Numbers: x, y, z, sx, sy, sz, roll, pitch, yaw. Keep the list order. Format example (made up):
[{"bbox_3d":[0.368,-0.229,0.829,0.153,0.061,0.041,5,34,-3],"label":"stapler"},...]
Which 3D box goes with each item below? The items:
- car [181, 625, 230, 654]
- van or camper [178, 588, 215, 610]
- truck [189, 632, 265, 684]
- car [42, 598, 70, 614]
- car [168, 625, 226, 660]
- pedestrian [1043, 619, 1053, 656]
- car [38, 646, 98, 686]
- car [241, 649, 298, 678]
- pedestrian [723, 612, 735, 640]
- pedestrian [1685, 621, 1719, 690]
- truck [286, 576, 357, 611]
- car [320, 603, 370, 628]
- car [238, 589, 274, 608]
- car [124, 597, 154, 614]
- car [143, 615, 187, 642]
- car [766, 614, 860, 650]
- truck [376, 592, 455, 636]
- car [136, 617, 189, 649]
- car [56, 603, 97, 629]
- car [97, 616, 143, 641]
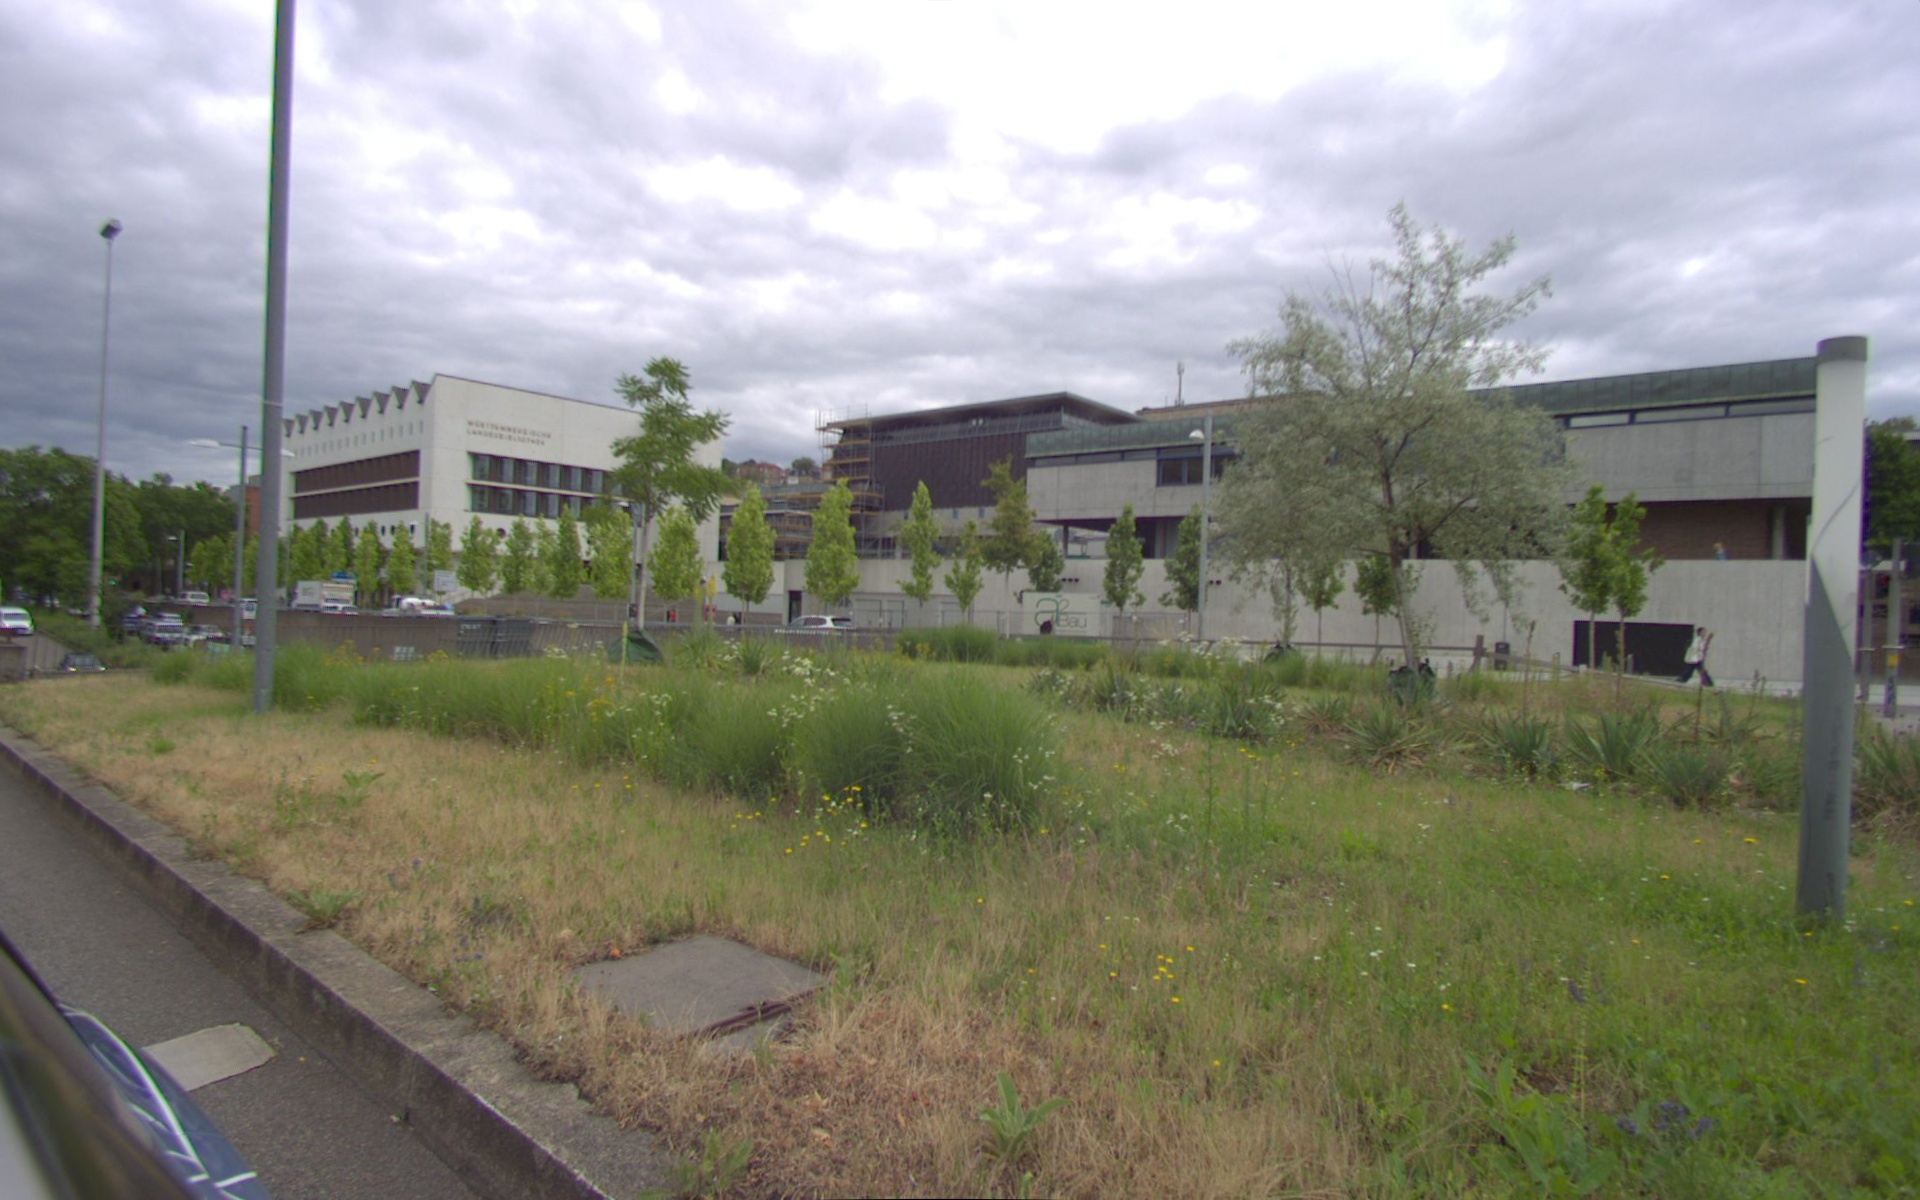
[{"bbox_3d":[-55.978,2.931,75.035,3.998,2.029,1.973,-1,-5,41],"label":"car"},{"bbox_3d":[-74.269,-0.074,98.380,4.554,2.029,1.973,-1,-2,41],"label":"van or camper"},{"bbox_3d":[-42.063,3.258,58.014,5.976,2.711,2.294,-1,-1,42],"label":"truck"},{"bbox_3d":[-89.135,0.616,99.785,3.360,1.497,1.653,0,-2,41],"label":"car"},{"bbox_3d":[-47.641,2.650,63.143,3.998,2.029,1.973,-1,-5,41],"label":"car"},{"bbox_3d":[3.627,1.534,41.715,0.316,1.533,0.314,0,0,34],"label":"pedestrian"},{"bbox_3d":[-48.935,3.588,55.501,3.998,2.029,1.973,-1,-2,41],"label":"car"},{"bbox_3d":[-43.365,3.965,63.543,3.998,1.564,1.973,0,0,41],"label":"car"},{"bbox_3d":[-12.984,1.464,56.865,0.461,1.533,0.424,0,0,34],"label":"pedestrian"},{"bbox_3d":[19.352,1.436,26.407,0.663,1.747,0.534,-1,-1,41],"label":"pedestrian"},{"bbox_3d":[-54.963,-0.484,87.051,7.250,2.809,3.197,-1,-2,41],"label":"truck"},{"bbox_3d":[-46.345,1.149,76.234,4.256,1.829,1.973,-1,-2,41],"label":"car"},{"bbox_3d":[-61.590,-0.144,88.518,4.269,1.586,1.700,-1,-2,42],"label":"car"},{"bbox_3d":[-92.097,0.610,113.542,3.998,1.829,1.973,-1,-2,41],"label":"car"},{"bbox_3d":[-64.293,2.310,81.845,3.998,2.029,1.973,-1,-5,41],"label":"car"},{"bbox_3d":[-6.682,1.428,45.769,4.611,1.586,1.700,-1,-2,42],"label":"car"},{"bbox_3d":[-36.414,0.969,67.592,7.077,2.838,2.437,-1,-2,42],"label":"truck"},{"bbox_3d":[-54.641,2.266,69.314,4.330,2.029,1.973,-1,-5,41],"label":"car"},{"bbox_3d":[-79.365,1.436,90.870,4.849,2.148,1.973,-1,-5,41],"label":"car"},{"bbox_3d":[-64.601,2.168,77.791,4.279,1.757,1.973,-1,-5,41],"label":"car"}]
